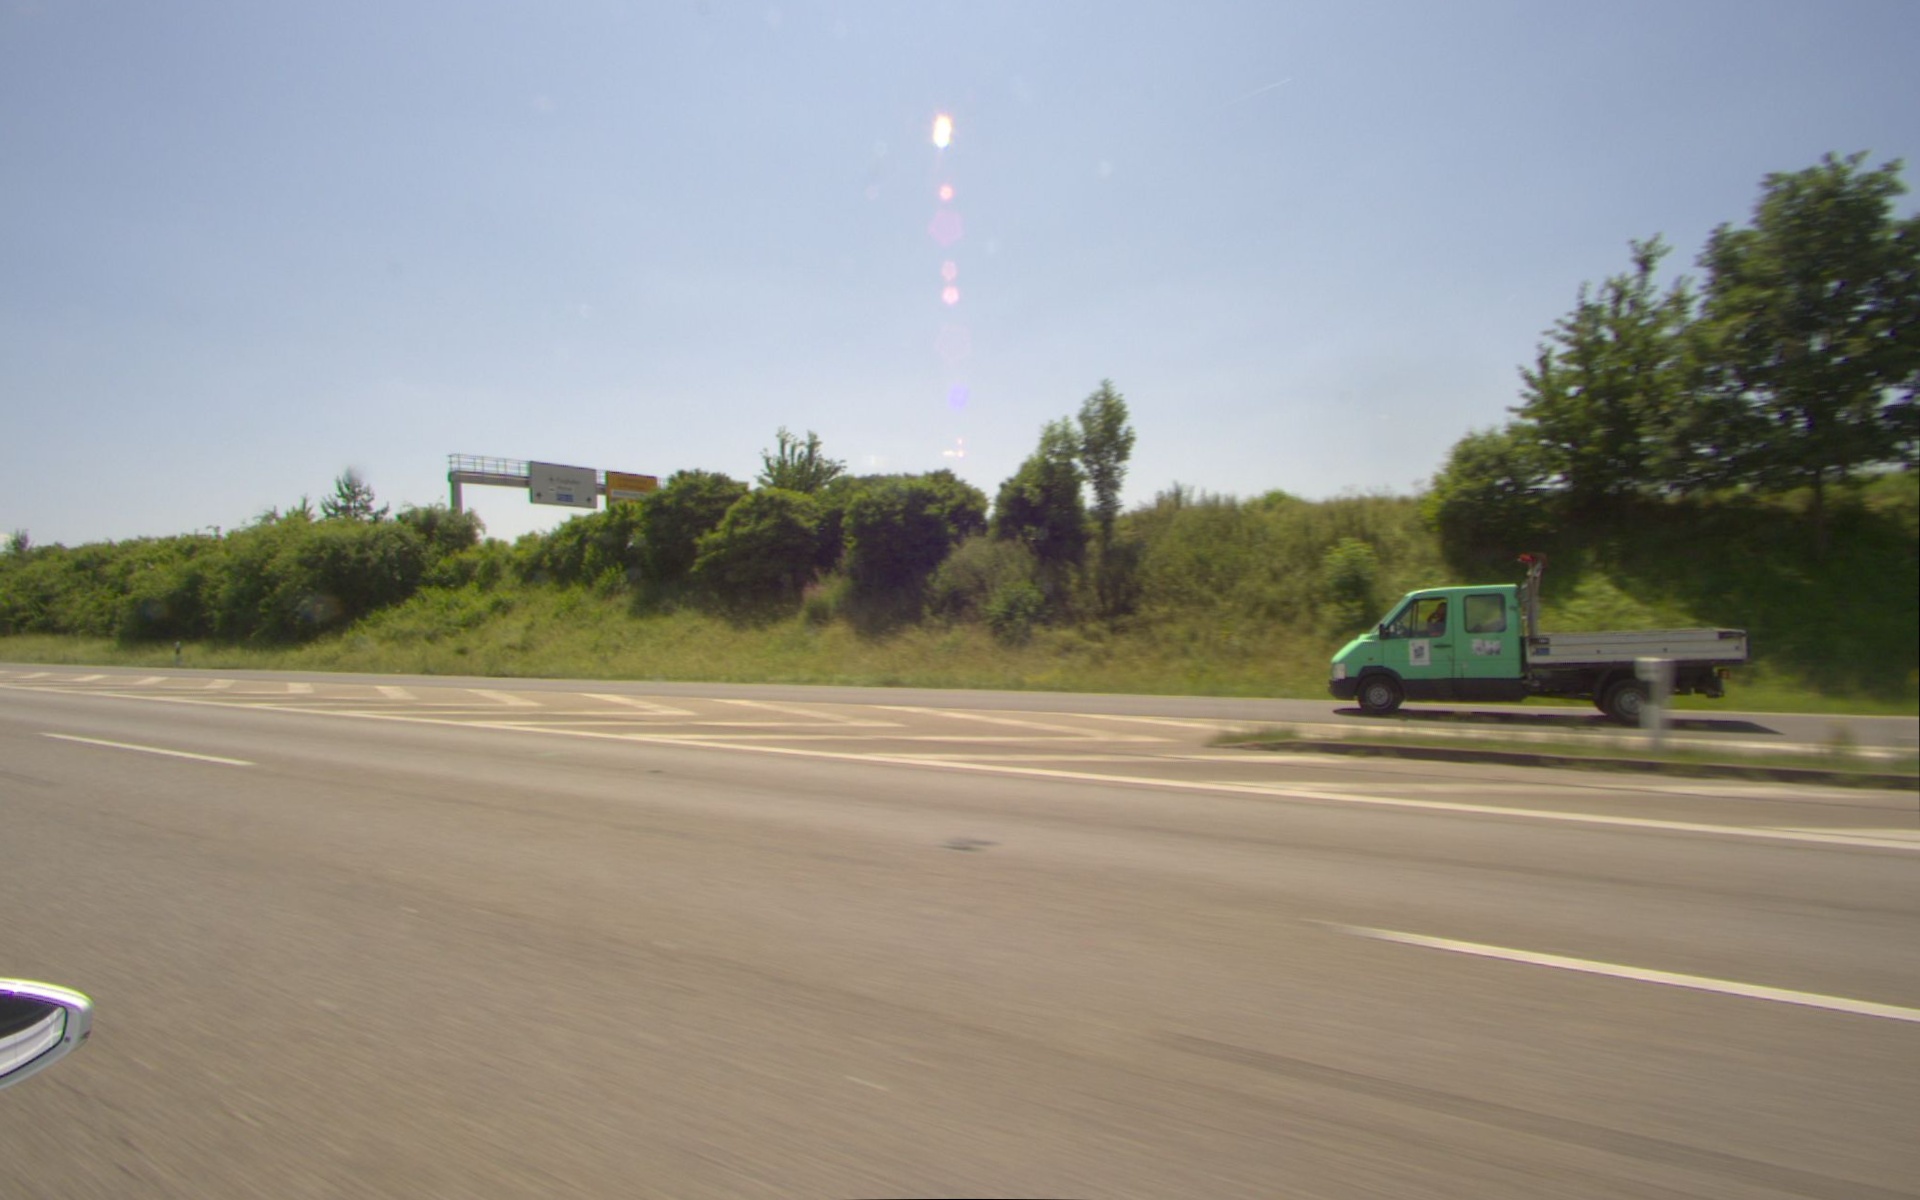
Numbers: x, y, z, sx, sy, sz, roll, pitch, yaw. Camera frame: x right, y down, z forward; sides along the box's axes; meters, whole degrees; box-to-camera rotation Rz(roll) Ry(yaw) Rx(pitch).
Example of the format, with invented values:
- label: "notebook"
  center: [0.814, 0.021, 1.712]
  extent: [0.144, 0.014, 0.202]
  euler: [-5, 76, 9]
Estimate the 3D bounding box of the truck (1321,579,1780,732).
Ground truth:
- label: "truck"
  center: [9.210, 0.841, 16.269]
  extent: [6.025, 2.119, 2.162]
  euler: [-1, -1, 29]
